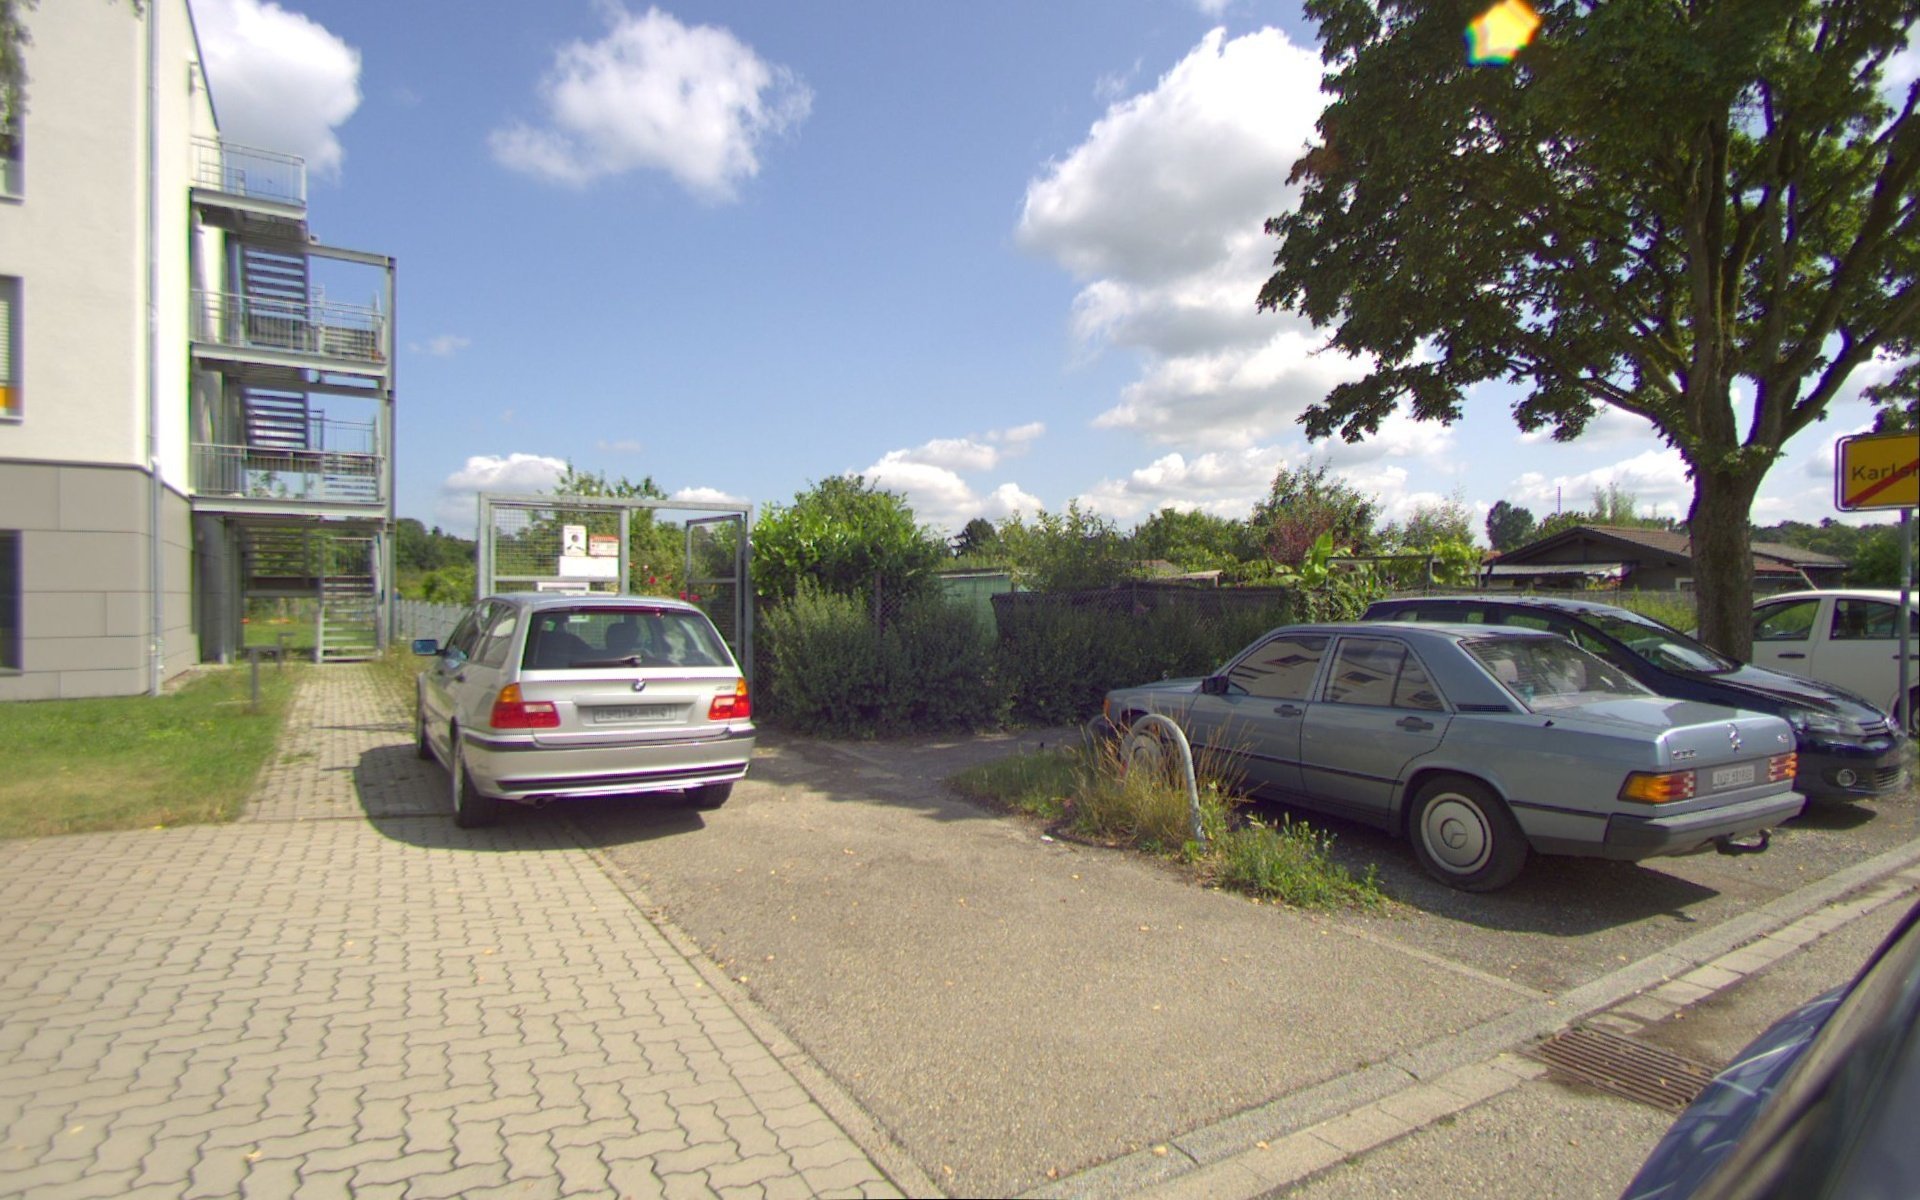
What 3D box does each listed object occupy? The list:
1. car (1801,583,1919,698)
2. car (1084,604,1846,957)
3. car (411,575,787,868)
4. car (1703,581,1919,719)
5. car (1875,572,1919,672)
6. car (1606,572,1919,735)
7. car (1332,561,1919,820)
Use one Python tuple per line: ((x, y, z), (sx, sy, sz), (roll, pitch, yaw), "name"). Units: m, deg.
((14.032, 0.549, 13.627), (1.727, 1.551, 3.825), (-1, 1, -32), "car")
((2.771, 0.794, 6.723), (1.683, 1.409, 4.379), (-1, 1, -28), "car")
((-2.914, 0.570, 7.485), (1.724, 1.448, 4.258), (-1, 2, -32), "car")
((11.941, 0.565, 12.112), (1.774, 1.598, 4.562), (-1, -1, -35), "car")
((17.409, 0.374, 15.896), (1.841, 1.658, 4.172), (-1, 1, -30), "car")
((9.356, 0.521, 10.976), (1.635, 1.569, 3.585), (-1, -1, -35), "car")
((5.348, 0.574, 8.340), (1.832, 1.579, 3.946), (-1, -1, -33), "car")
